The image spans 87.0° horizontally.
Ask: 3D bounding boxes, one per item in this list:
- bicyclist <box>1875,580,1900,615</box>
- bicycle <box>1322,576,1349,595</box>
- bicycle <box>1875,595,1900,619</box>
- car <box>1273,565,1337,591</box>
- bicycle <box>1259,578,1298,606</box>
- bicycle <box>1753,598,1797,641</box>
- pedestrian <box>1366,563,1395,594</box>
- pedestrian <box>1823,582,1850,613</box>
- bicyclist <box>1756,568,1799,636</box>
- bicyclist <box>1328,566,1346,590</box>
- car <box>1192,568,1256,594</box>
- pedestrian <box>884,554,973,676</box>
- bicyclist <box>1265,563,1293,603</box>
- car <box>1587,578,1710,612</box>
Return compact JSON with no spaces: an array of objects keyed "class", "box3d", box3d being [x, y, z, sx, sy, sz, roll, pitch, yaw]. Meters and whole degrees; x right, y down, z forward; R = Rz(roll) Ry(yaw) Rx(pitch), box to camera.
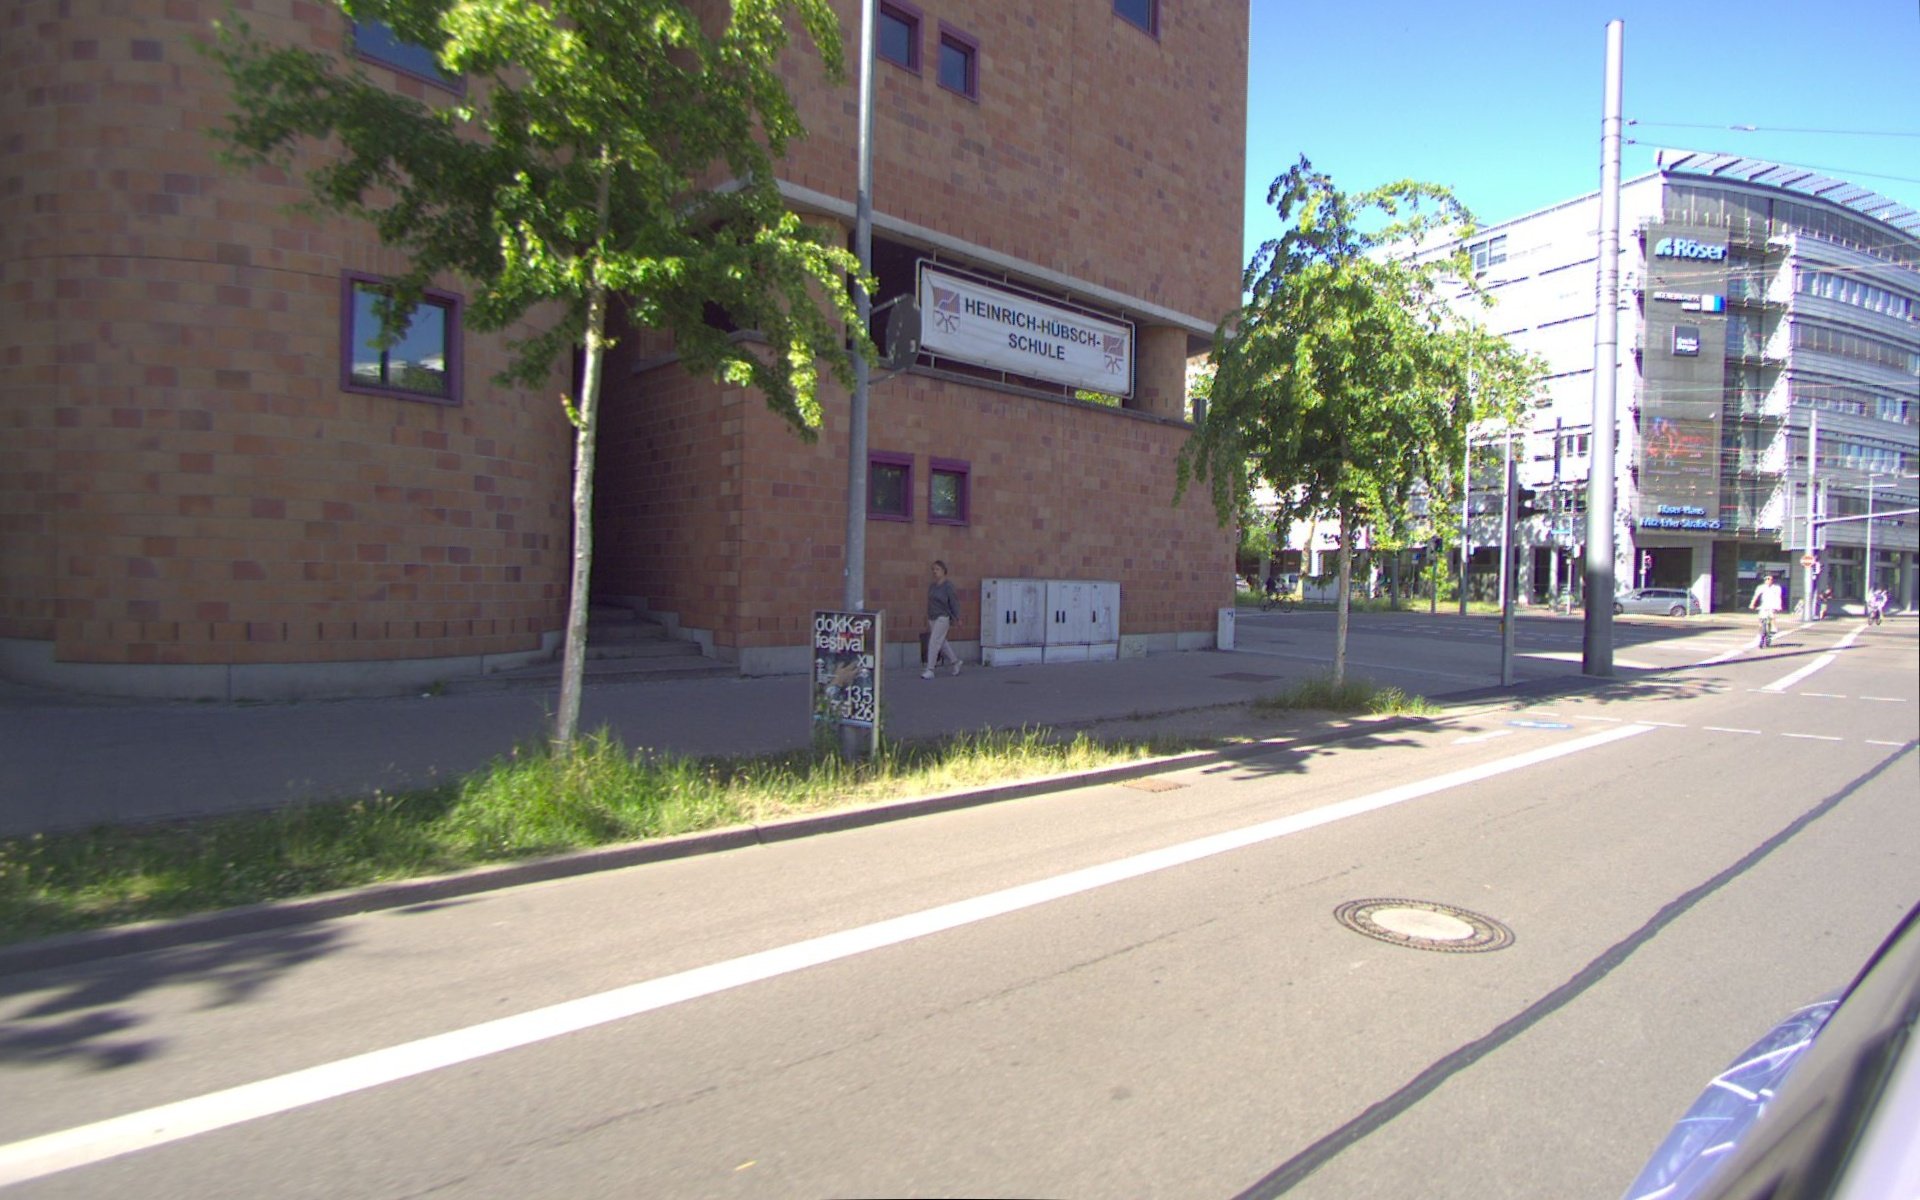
[{"class":"bicyclist","box3d":[43.971,-0.138,47.977,0.747,1.637,0.755,0,-1,-36]},{"class":"bicycle","box3d":[23.418,-0.925,63.055,0.472,1.161,1.542,0,2,-37]},{"class":"bicycle","box3d":[43.976,0.322,47.981,1.479,1.110,0.578,0,0,-37]},{"class":"car","box3d":[24.075,-1.536,70.729,1.781,1.698,3.934,0,2,-31]},{"class":"bicycle","box3d":[13.709,-0.347,43.563,1.538,1.161,0.473,2,1,45]},{"class":"bicycle","box3d":[21.516,0.505,26.718,1.479,1.110,0.578,0,0,-38]},{"class":"pedestrian","box3d":[28.375,-1.431,68.316,1.437,2.038,1.184,0,2,-32]},{"class":"pedestrian","box3d":[49.139,-0.166,56.716,0.784,1.708,0.862,0,2,-26]},{"class":"bicyclist","box3d":[21.582,0.048,26.717,0.893,1.750,0.684,0,-1,-39]},{"class":"bicyclist","box3d":[23.454,-1.368,62.979,0.742,1.426,0.761,0,2,-36]},{"class":"car","box3d":[18.387,-1.347,70.671,1.897,1.666,4.257,0,2,-29]},{"class":"pedestrian","box3d":[-0.446,0.188,14.287,0.960,1.639,0.789,0,2,-42]},{"class":"bicyclist","box3d":[13.729,-0.723,43.538,0.934,1.689,0.674,2,2,44]},{"class":"car","box3d":[35.263,-0.276,51.975,4.781,1.577,1.927,2,2,15]}]
